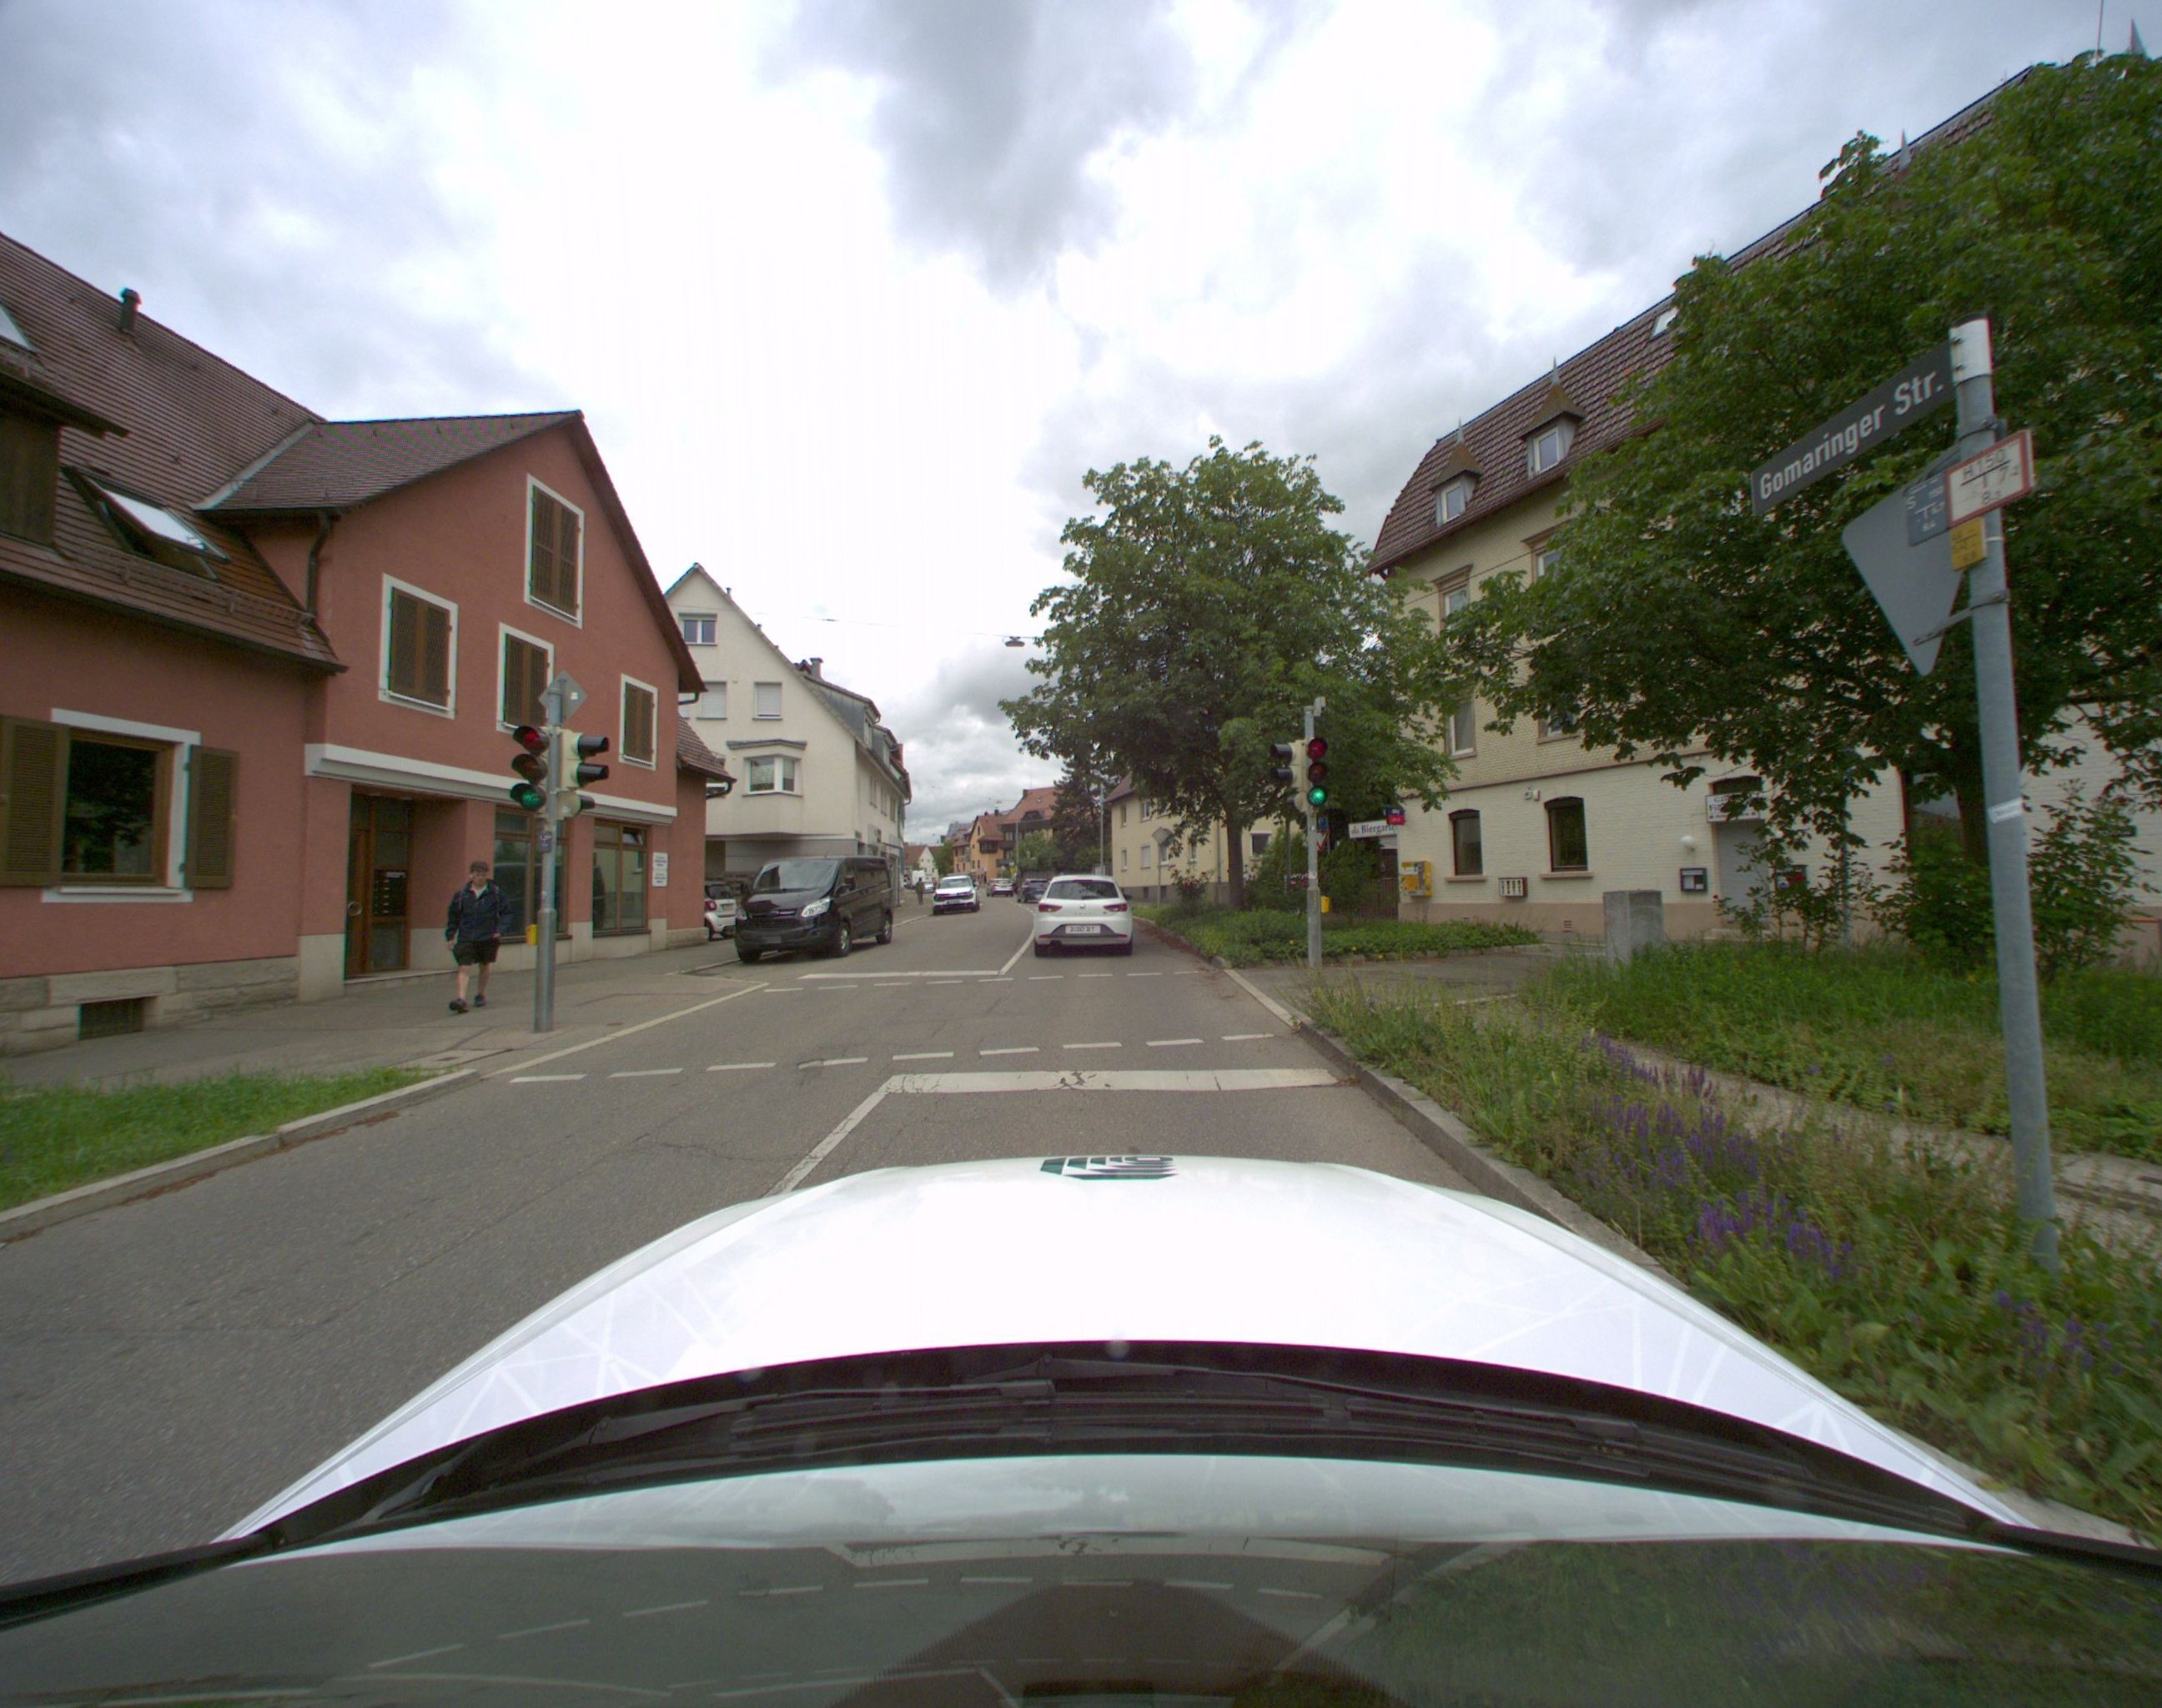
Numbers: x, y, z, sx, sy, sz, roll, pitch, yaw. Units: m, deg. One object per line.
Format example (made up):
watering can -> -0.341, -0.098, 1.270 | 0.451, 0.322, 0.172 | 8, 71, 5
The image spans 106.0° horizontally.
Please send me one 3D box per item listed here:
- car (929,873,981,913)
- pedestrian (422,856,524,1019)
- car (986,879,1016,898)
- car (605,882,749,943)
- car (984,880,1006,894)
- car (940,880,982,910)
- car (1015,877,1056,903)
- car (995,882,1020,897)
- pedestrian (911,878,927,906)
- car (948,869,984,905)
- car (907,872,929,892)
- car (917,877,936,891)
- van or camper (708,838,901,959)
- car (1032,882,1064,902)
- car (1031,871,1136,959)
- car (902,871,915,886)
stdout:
car -> -5.521, 1.704, 36.183 | 1.995, 1.633, 4.847 | 0, -2, -5
pedestrian -> -7.069, 0.927, 9.523 | 0.805, 1.785, 0.885 | 0, -1, -28
car -> -6.400, 2.759, 64.919 | 1.761, 1.452, 3.980 | 0, -2, -14
car -> -10.407, 1.484, 21.129 | 2.816, 1.475, 1.744 | -1, -2, 4
car -> -9.732, 3.733, 91.769 | 1.762, 1.452, 3.977 | 0, -2, -17
car -> -6.064, 2.068, 41.431 | 1.996, 1.436, 3.907 | 0, -2, -8
car -> -2.741, 2.090, 47.952 | 1.760, 1.452, 3.981 | 0, -2, -13
car -> -7.343, 3.524, 81.123 | 1.762, 1.452, 3.977 | 0, -2, -17
pedestrian -> -8.952, 2.088, 45.078 | 0.805, 1.500, 0.973 | 1, -3, -8
car -> -7.227, 2.062, 51.521 | 1.992, 2.014, 4.658 | -3, -1, -7
car -> -23.007, 3.975, 115.109 | 2.146, 2.687, 5.541 | 1, -2, -1
car -> -17.350, 3.363, 91.247 | 1.802, 1.479, 4.030 | -3, -2, -14
van or camper -> -5.356, 0.899, 16.602 | 2.066, 2.006, 4.858 | -3, -3, 2
car -> -2.566, 2.895, 61.958 | 1.760, 1.452, 3.982 | 2, -3, -12
car -> -0.002, 1.102, 15.693 | 1.753, 1.452, 3.997 | -1, -2, -1
car -> -31.839, 4.494, 150.255 | 2.155, 2.687, 5.369 | 1, -2, -13
